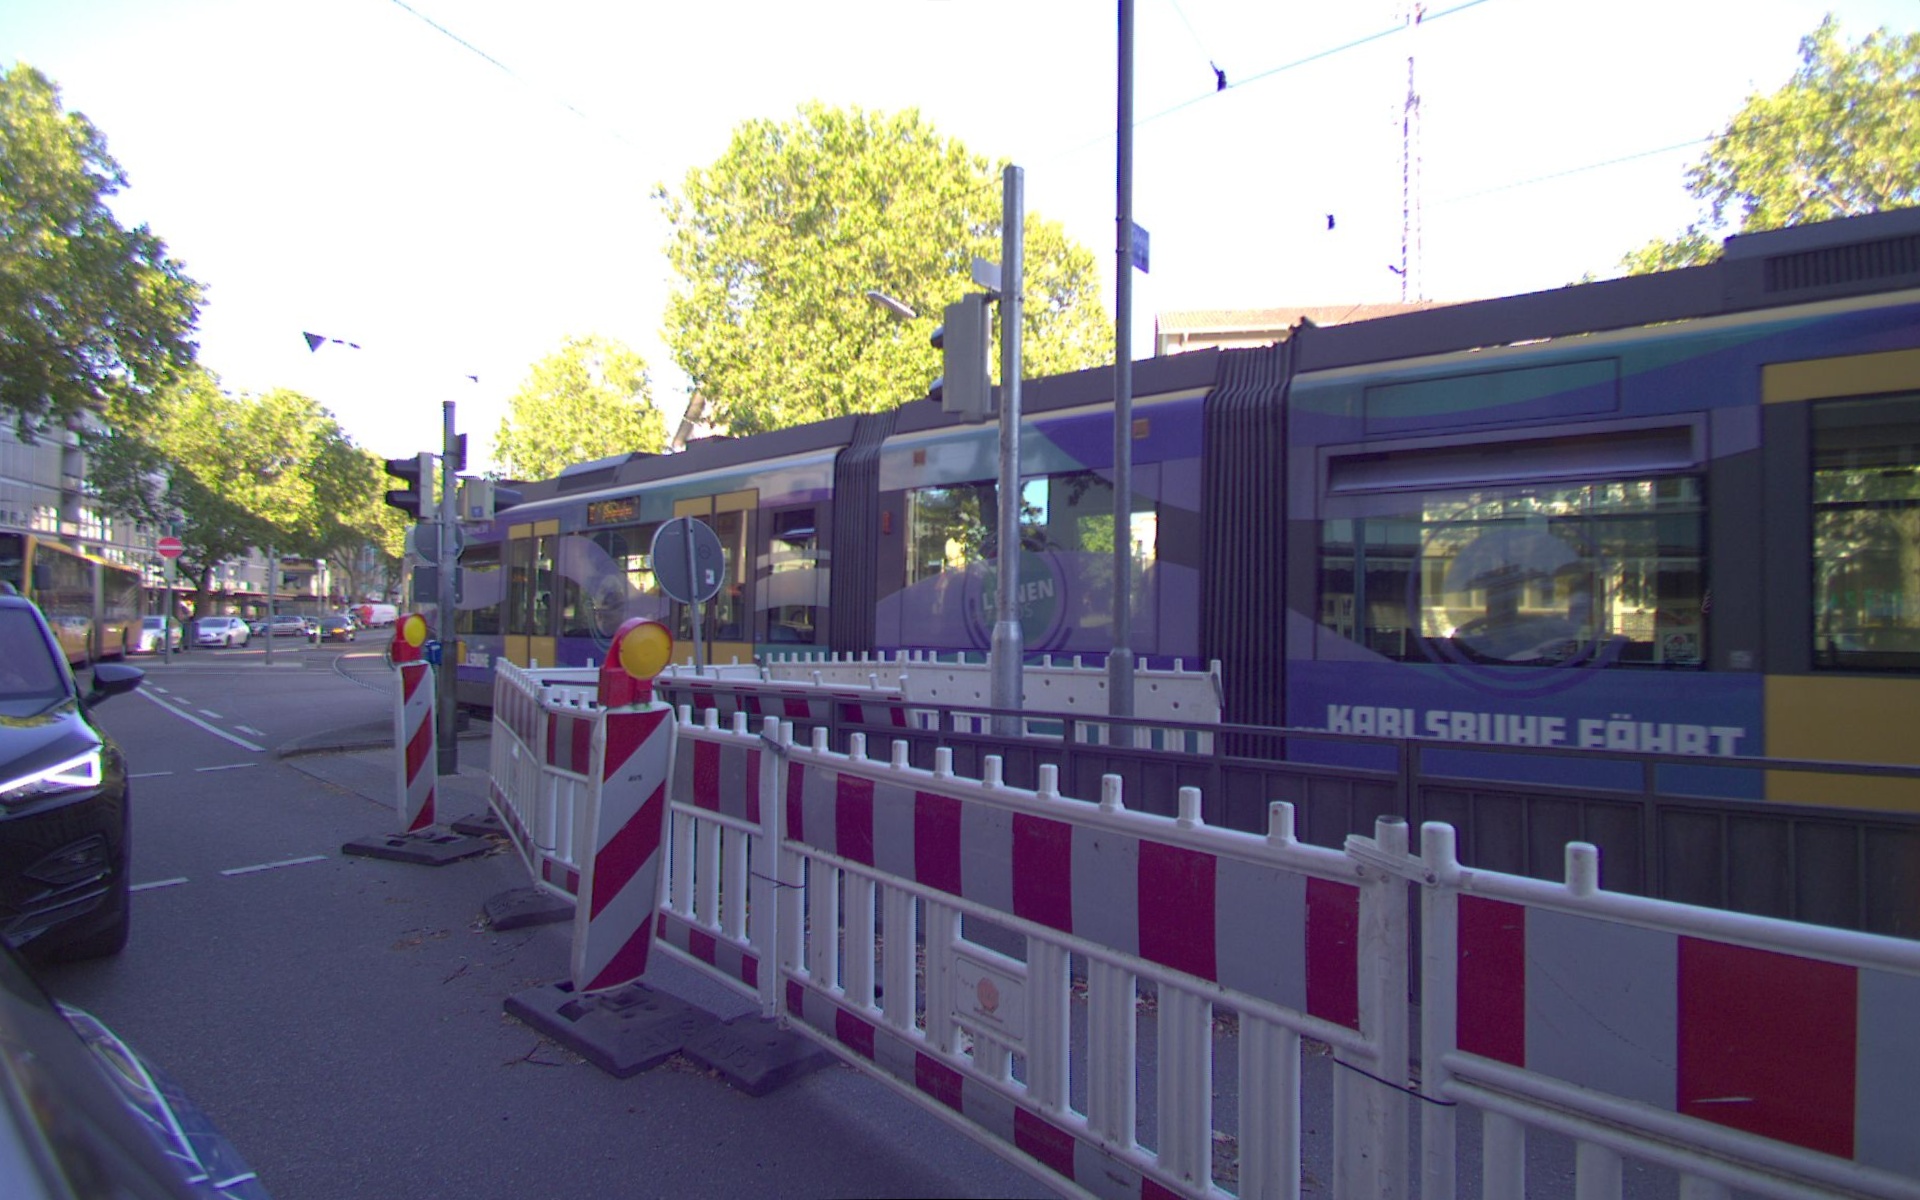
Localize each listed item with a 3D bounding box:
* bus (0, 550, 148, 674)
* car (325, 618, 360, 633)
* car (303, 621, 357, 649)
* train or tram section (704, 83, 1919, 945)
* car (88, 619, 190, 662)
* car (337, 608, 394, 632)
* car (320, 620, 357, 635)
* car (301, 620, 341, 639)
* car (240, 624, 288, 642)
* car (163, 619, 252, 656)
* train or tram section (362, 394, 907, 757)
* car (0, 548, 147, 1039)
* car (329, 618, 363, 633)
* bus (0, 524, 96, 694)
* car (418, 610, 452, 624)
[{"bbox_3d":[-26.346,0.386,29.787,2.708,3.127,9.523,1,-2,-32],"label":"bus"},{"bbox_3d":[-58.139,2.401,95.261,1.201,1.399,2.592,0,-1,43],"label":"car"},{"bbox_3d":[-35.328,1.933,56.882,1.923,1.486,4.772,1,-1,-24],"label":"car"},{"bbox_3d":[2.303,-0.300,7.463,10.334,3.514,2.840,-1,-1,42],"label":"train or tram section"},{"bbox_3d":[-30.627,1.473,37.909,1.880,1.486,4.433,1,-1,-24],"label":"car"},{"bbox_3d":[-61.609,2.044,104.990,1.873,2.394,4.817,0,-1,30],"label":"car"},{"bbox_3d":[-56.540,2.514,92.054,1.201,1.290,2.592,0,-1,43],"label":"car"},{"bbox_3d":[-52.332,2.430,82.892,1.201,1.484,2.592,0,-1,43],"label":"car"},{"bbox_3d":[-50.891,2.418,74.019,1.198,1.226,2.599,0,-1,34],"label":"car"},{"bbox_3d":[-34.577,1.689,46.646,1.923,1.562,4.771,1,-1,-19],"label":"car"},{"bbox_3d":[-5.306,-0.161,14.391,10.340,3.514,2.804,-1,-1,44],"label":"train or tram section"},{"bbox_3d":[-5.161,0.690,4.586,4.300,1.670,1.823,-1,-1,45],"label":"car"},{"bbox_3d":[-59.544,2.472,98.093,1.201,1.355,2.592,0,-1,43],"label":"car"},{"bbox_3d":[-21.041,0.228,21.937,2.710,3.127,9.519,1,-2,-36],"label":"bus"},{"bbox_3d":[-77.505,2.451,149.448,1.874,2.029,3.956,-1,-2,32],"label":"car"}]
